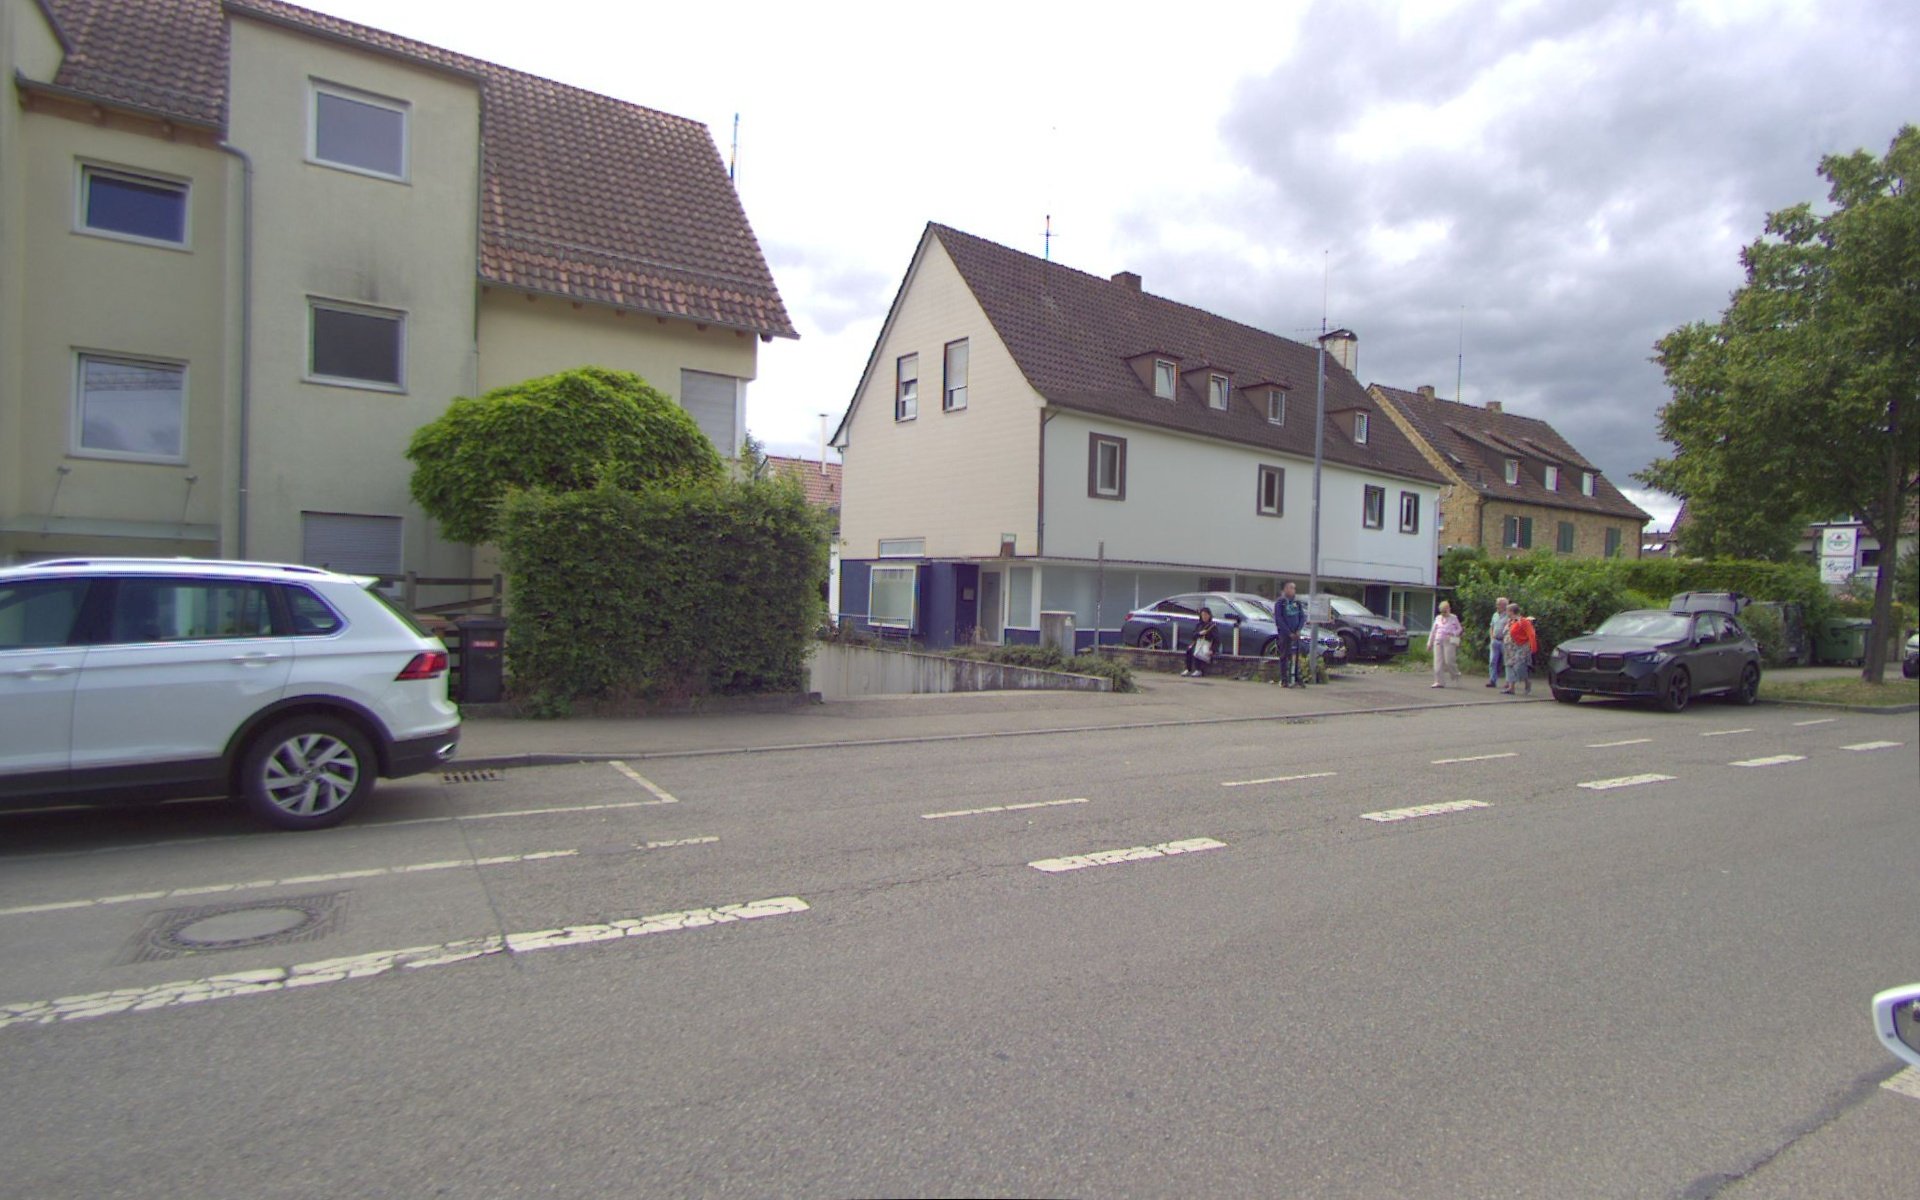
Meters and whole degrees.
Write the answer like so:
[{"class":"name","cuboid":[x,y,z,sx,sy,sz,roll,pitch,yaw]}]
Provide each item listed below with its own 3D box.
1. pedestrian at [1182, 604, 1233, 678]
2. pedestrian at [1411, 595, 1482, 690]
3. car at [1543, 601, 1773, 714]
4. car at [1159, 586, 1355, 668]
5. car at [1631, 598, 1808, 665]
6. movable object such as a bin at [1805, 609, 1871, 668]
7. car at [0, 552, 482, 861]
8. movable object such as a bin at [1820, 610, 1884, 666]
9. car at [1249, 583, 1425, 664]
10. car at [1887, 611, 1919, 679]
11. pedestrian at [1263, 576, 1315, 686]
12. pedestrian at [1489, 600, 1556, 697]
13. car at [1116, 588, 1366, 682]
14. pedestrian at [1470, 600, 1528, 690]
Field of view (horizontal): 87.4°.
[{"class":"pedestrian","cuboid":[4.602,0.750,18.657,0.697,1.330,0.585,1,0,-29]},{"class":"pedestrian","cuboid":[9.111,0.776,18.823,0.873,1.686,0.781,1,4,-37]},{"class":"car","cuboid":[12.388,0.946,17.759,4.515,1.748,1.714,1,0,-33]},{"class":"car","cuboid":[6.608,0.540,22.712,1.774,1.502,3.958,1,3,-36]},{"class":"car","cuboid":[23.546,0.933,31.281,1.976,1.917,3.968,1,0,-30]},{"class":"movable object such as a bin","cuboid":[26.670,1.152,30.525,0.987,1.673,1.198,1,2,-33]},{"class":"car","cuboid":[-5.573,0.575,6.206,4.537,1.656,1.810,1,0,-33]},{"class":"movable object such as a bin","cuboid":[28.000,1.182,31.544,0.987,1.673,1.198,1,2,-33]},{"class":"car","cuboid":[8.991,0.492,24.327,1.841,1.714,3.982,-3,1,-19]},{"class":"car","cuboid":[26.139,1.181,26.131,4.245,1.676,1.851,1,0,-31]},{"class":"pedestrian","cuboid":[5.596,0.514,17.082,0.664,1.830,0.501,1,0,-31]},{"class":"pedestrian","cuboid":[10.193,0.860,18.214,0.747,1.686,0.781,1,1,-37]},{"class":"car","cuboid":[5.625,0.625,20.462,4.464,1.574,2.024,3,1,43]},{"class":"pedestrian","cuboid":[10.376,0.842,19.347,0.586,1.686,0.781,1,0,-37]}]
